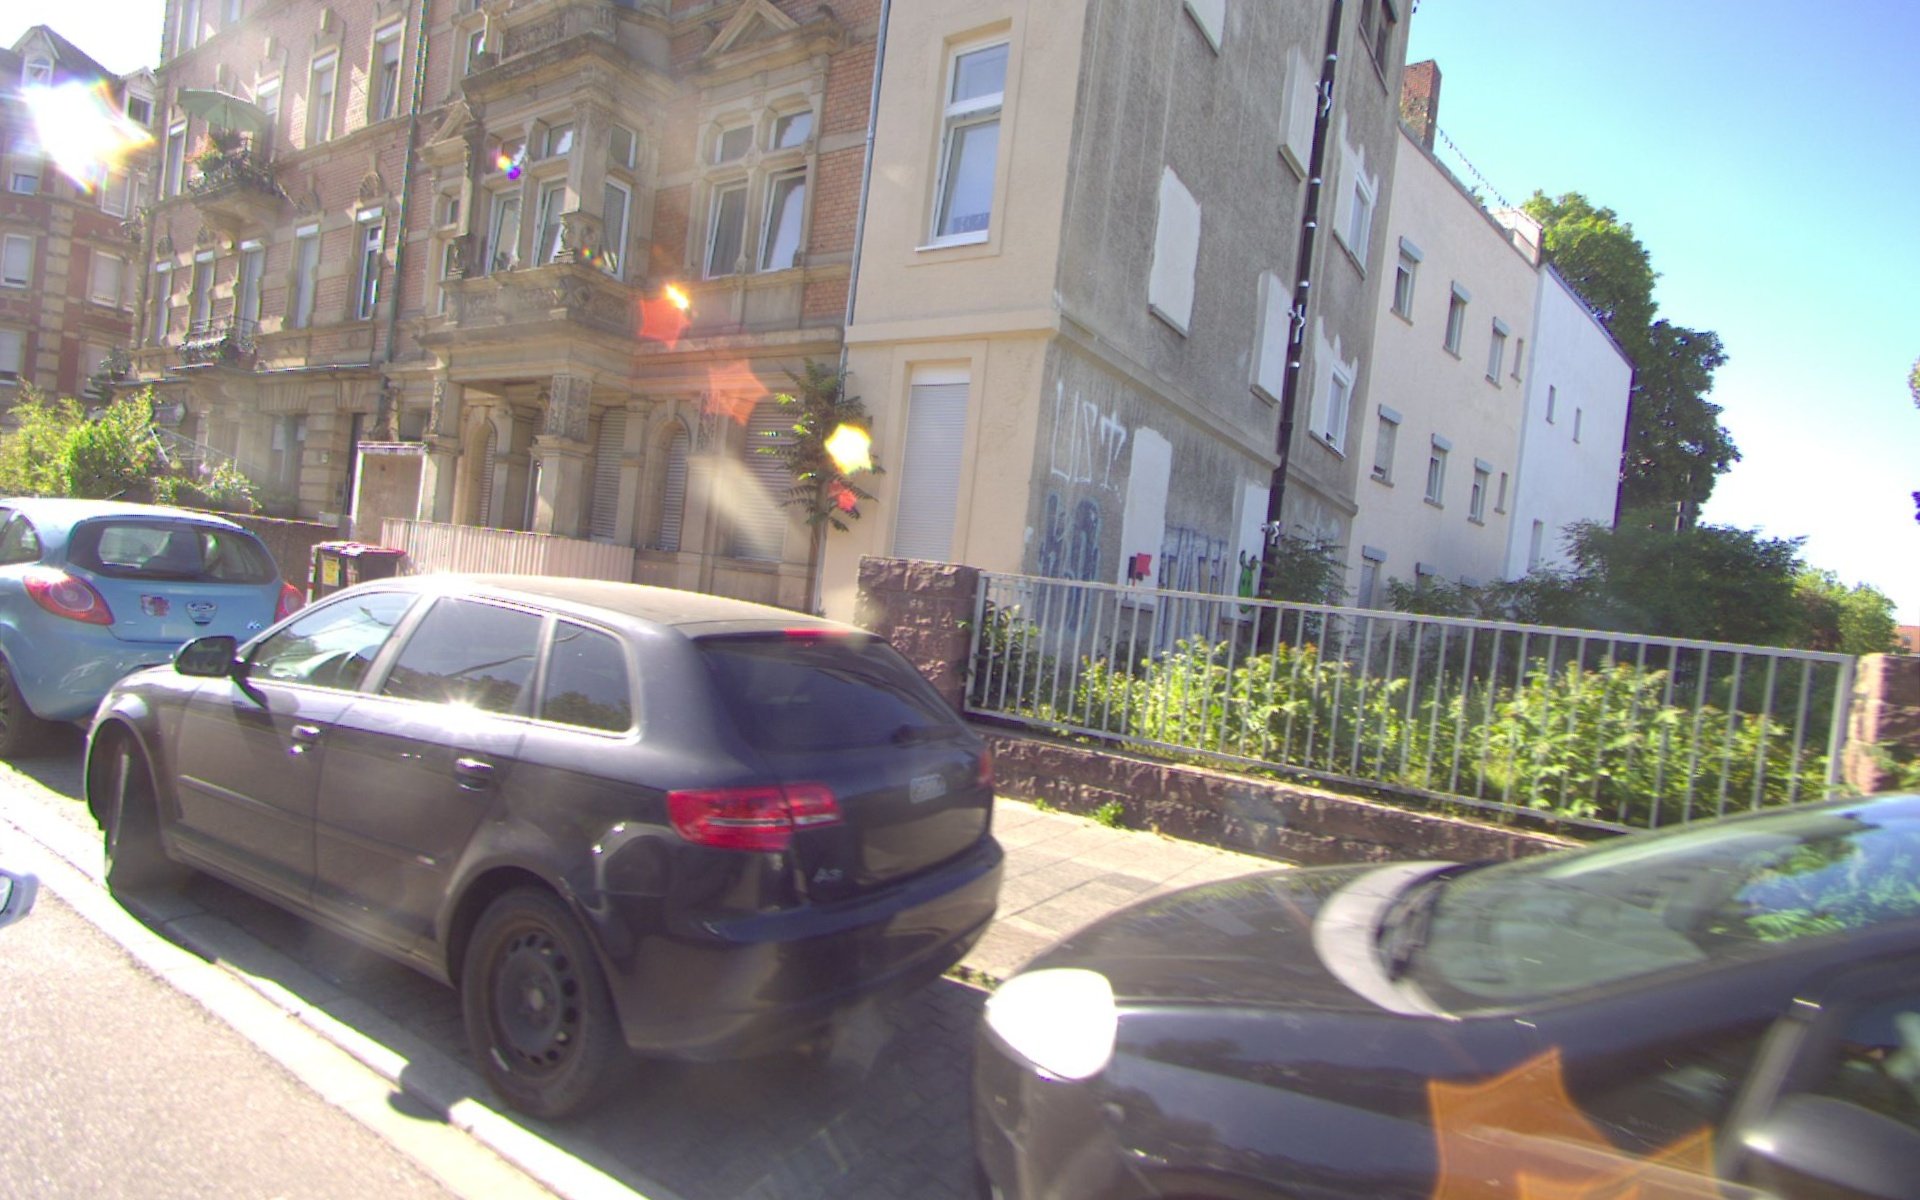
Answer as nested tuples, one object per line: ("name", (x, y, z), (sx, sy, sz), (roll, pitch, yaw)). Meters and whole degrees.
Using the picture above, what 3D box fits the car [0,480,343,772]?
("car", (-5.928, 0.010, 6.859), (3.244, 1.491, 1.621), (8, 4, 32))

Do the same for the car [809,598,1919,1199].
("car", (1.754, 0.945, 1.693), (3.712, 1.411, 1.670), (7, 1, 32))

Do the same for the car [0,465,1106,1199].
("car", (-1.913, 0.473, 4.009), (4.409, 1.538, 1.937), (7, 0, 32))

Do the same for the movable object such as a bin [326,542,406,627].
("movable object such as a bin", (-8.845, -0.227, 14.996), (0.599, 1.170, 0.759), (4, -2, 34))

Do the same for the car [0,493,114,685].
("car", (-9.394, -0.294, 9.028), (4.207, 1.486, 1.668), (7, 0, 35))

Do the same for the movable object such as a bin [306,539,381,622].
("movable object such as a bin", (-9.475, -0.294, 15.468), (0.599, 1.170, 0.723), (4, -2, 34))
